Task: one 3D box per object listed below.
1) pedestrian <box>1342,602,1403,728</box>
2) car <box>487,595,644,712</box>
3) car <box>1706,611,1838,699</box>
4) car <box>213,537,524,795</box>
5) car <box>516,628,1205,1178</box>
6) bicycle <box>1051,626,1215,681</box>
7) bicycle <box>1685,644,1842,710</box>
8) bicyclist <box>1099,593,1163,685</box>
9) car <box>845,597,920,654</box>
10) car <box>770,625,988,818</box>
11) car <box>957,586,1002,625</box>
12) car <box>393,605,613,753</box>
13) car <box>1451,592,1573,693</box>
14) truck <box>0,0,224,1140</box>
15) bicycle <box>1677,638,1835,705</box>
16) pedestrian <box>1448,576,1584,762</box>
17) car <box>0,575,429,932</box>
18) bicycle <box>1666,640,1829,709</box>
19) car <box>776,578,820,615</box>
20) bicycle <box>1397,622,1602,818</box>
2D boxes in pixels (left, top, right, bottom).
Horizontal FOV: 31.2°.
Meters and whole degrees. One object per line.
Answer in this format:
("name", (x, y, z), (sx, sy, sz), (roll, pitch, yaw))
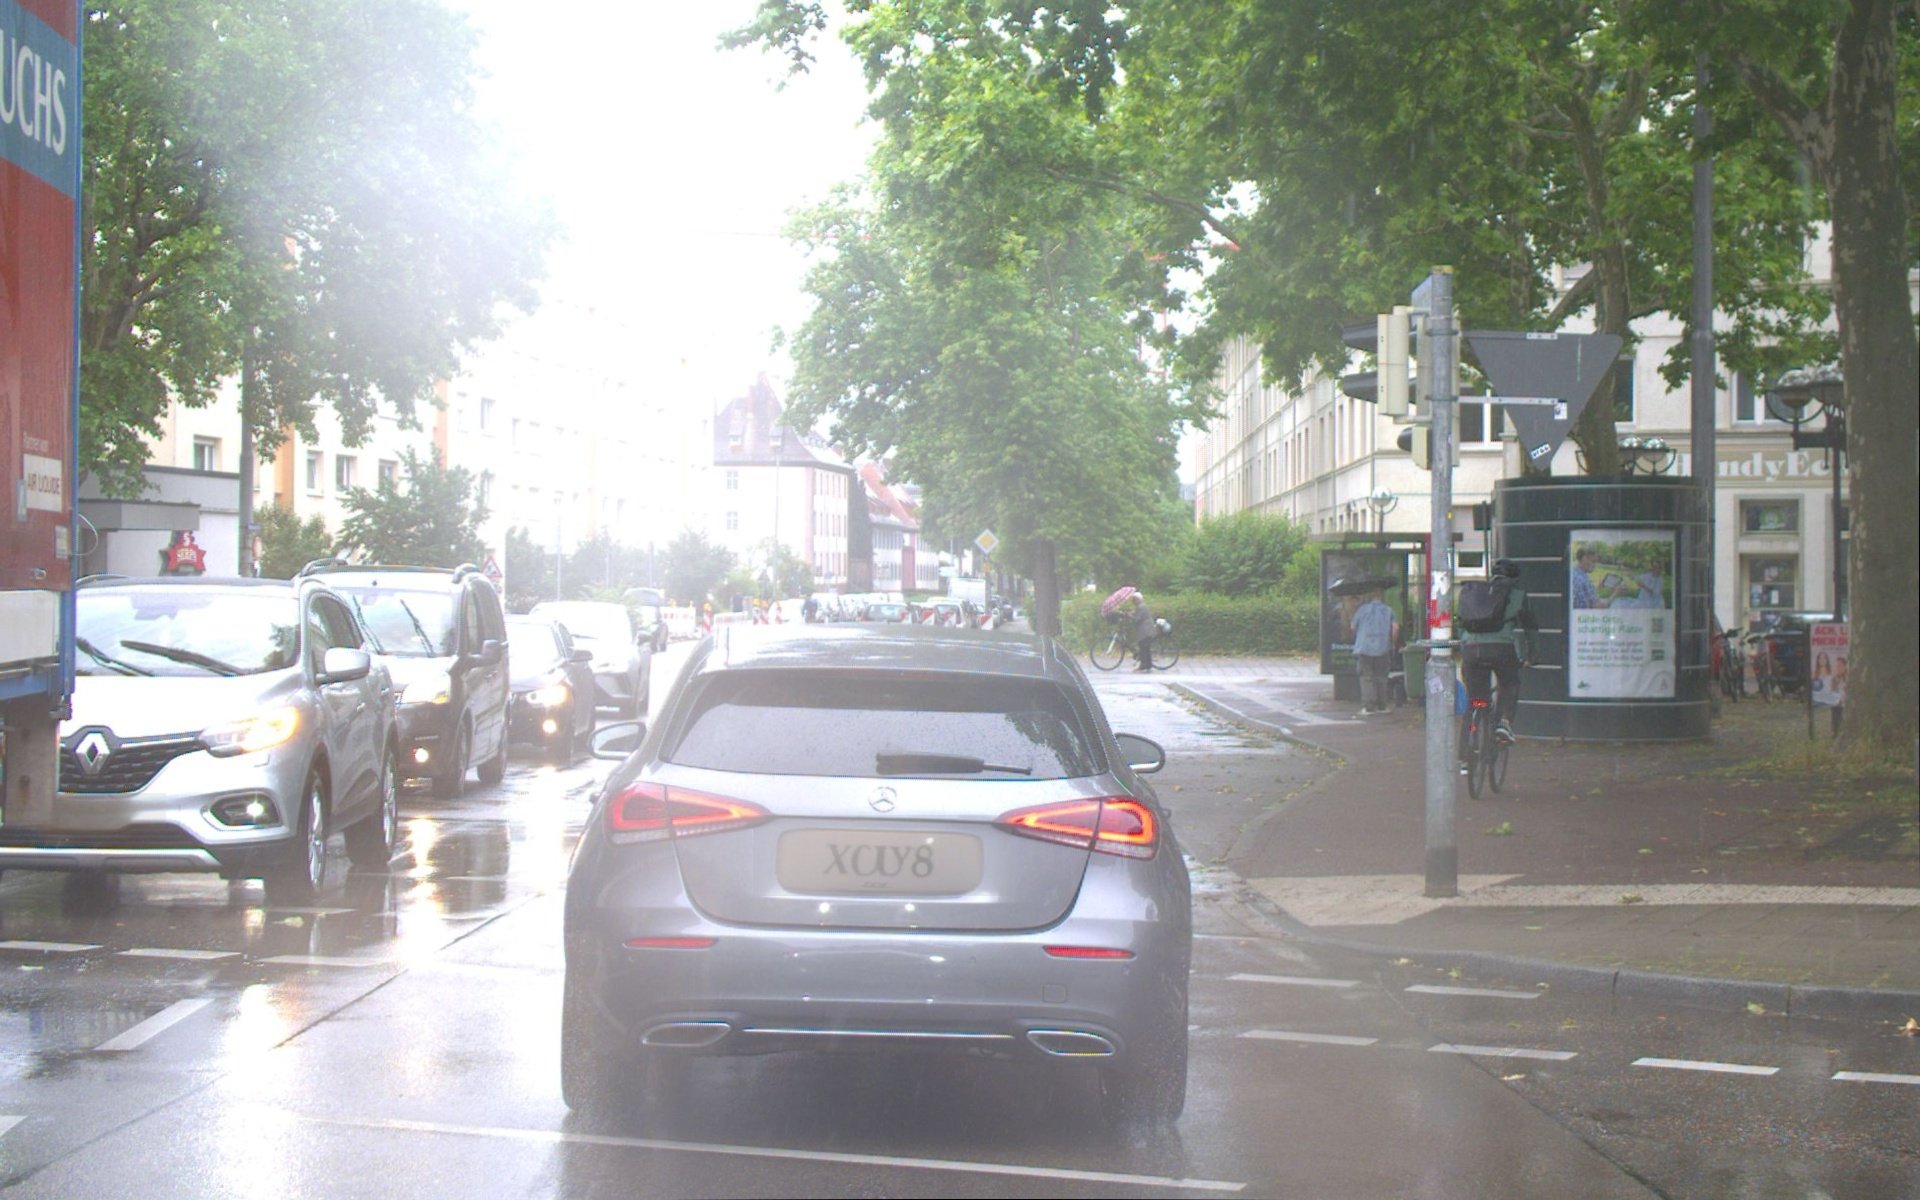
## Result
("pedestrian", (5.510, 0.859, 45.917), (0.716, 1.663, 0.665), (1, 0, -1))
("car", (-5.317, 0.690, 46.787), (1.845, 1.505, 4.056), (0, 0, -3))
("car", (13.114, 0.908, 55.420), (1.584, 1.332, 3.258), (0, -2, 22))
("car", (-4.545, 0.475, 26.972), (1.806, 1.855, 4.109), (0, 0, -1))
("car", (-0.316, 0.822, 10.903), (1.791, 1.368, 3.507), (2, 0, -2))
("bicycle", (3.543, 1.102, 70.446), (3.205, 1.108, 1.054), (0, -2, -20))
("bicycle", (12.186, 1.163, 52.157), (2.249, 0.965, 0.584), (0, 0, 22))
("bicyclist", (3.499, 0.800, 70.386), (0.938, 1.862, 1.143), (0, -1, -20))
("car", (-2.209, 0.706, 96.933), (1.993, 1.568, 4.000), (0, 0, -3))
("car", (-0.661, 0.915, 27.474), (1.607, 1.368, 4.000), (0, 0, -2))
("car", (0.953, 0.254, 165.036), (2.046, 1.830, 4.791), (0, 0, 2))
("car", (-4.630, 0.787, 35.383), (1.742, 1.385, 4.362), (2, -1, -1))
("car", (9.115, 0.721, 56.603), (1.689, 1.546, 3.520), (0, -2, 14))
("truck", (-3.856, -0.584, 7.467), (2.845, 4.012, 10.317), (0, 0, -3))
("bicycle", (11.882, 1.063, 51.336), (2.254, 0.965, 0.534), (0, 0, 22))
("pedestrian", (4.272, 0.515, 26.375), (0.745, 1.393, 1.045), (0, 0, 26))
("car", (-3.847, 0.687, 17.488), (1.742, 1.598, 4.000), (0, 0, -1))
("bicycle", (11.581, 1.089, 50.593), (2.284, 0.979, 0.545), (0, 0, 22))
("car", (-8.122, -0.168, 172.408), (1.889, 1.830, 4.000), (0, 0, 2))
("bicycle", (4.123, 0.872, 26.072), (0.750, 1.372, 2.703), (0, 0, 26))
